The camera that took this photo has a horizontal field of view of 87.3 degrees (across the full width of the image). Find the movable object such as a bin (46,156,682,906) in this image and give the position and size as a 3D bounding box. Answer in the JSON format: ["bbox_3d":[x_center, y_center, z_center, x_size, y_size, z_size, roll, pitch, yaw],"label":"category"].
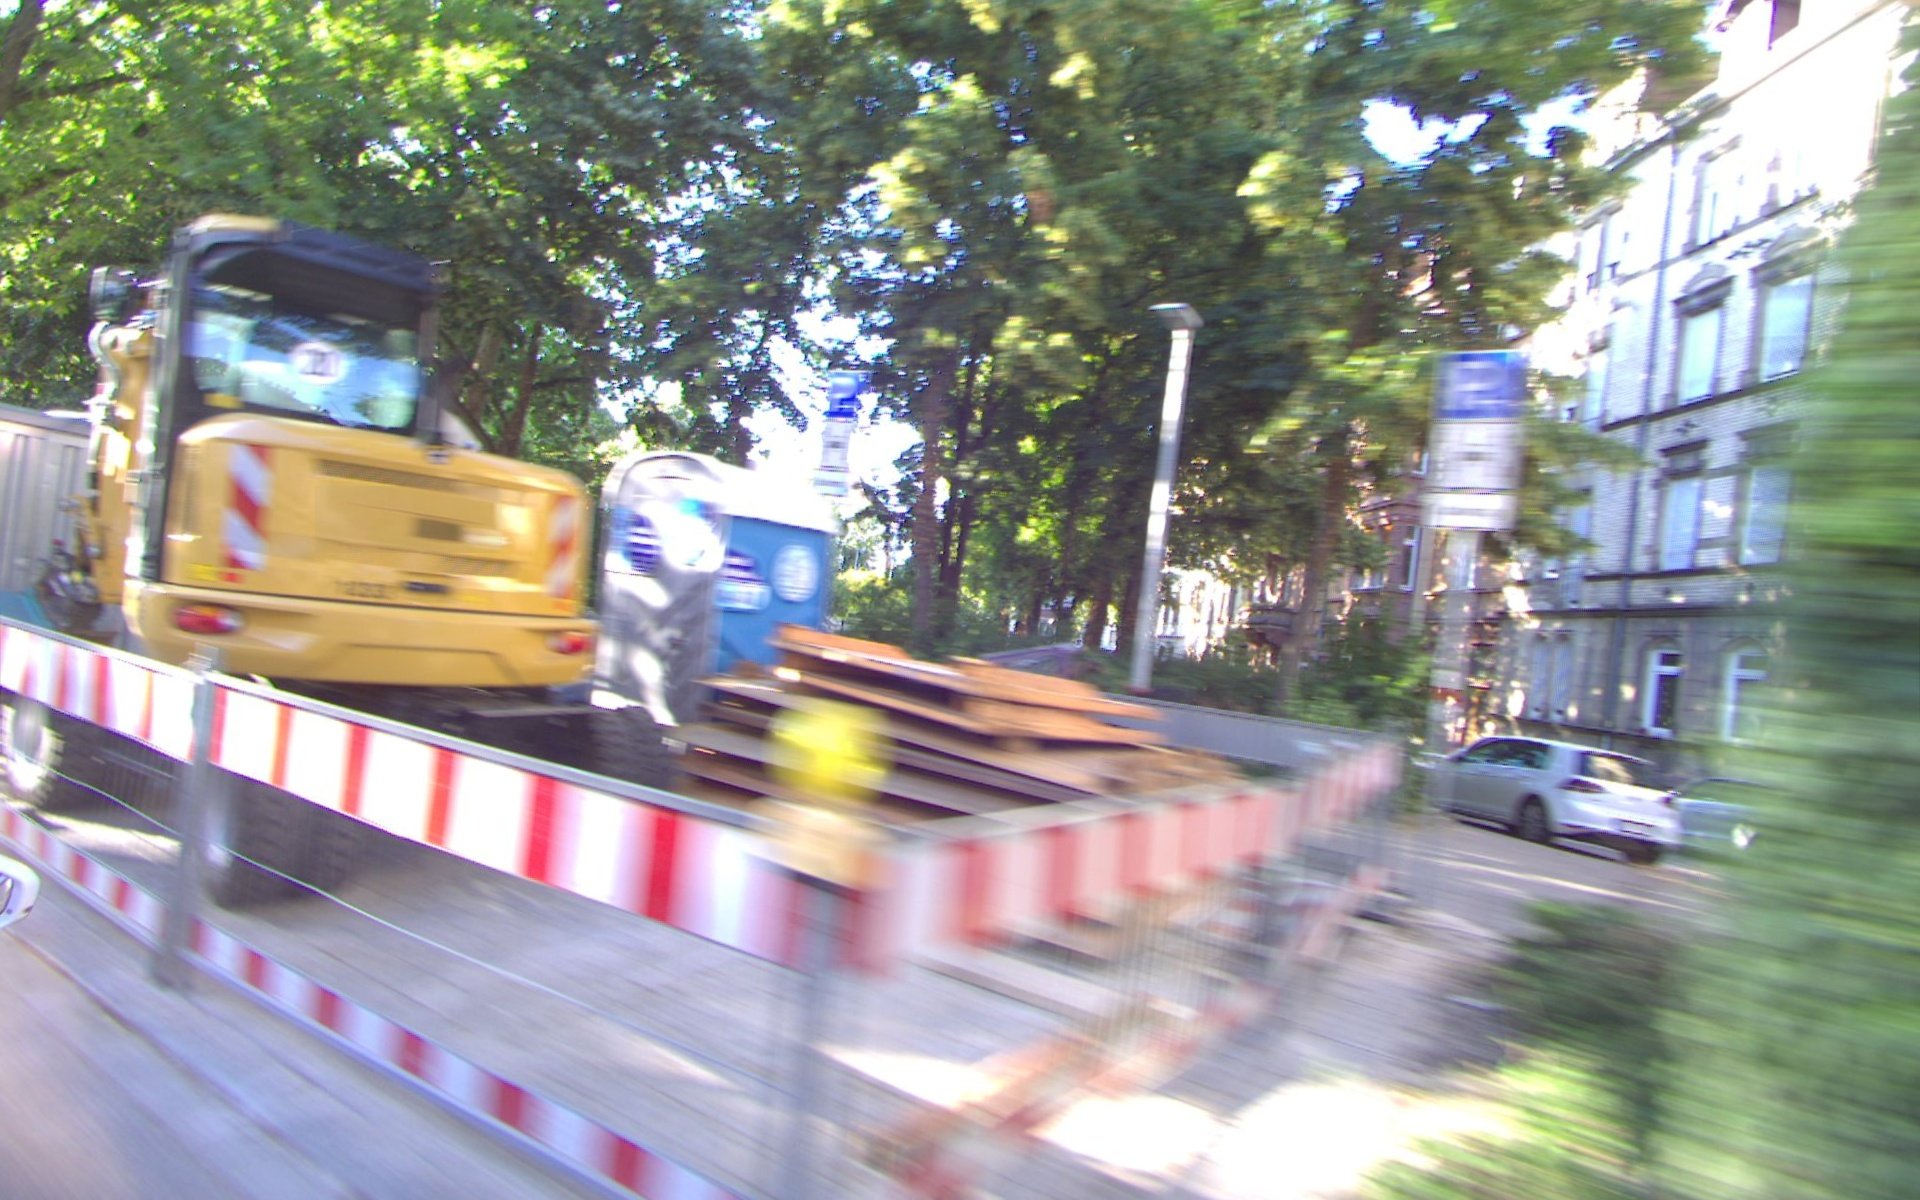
[{"bbox_3d":[-3.334,-0.238,5.435,3.071,2.730,1.990,6,-2,45],"label":"movable object such as a bin"}]

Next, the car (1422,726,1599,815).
[{"bbox_3d":[12.616,3.870,23.357,1.739,1.536,4.005,4,-4,-3],"label":"car"}]

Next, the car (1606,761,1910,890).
[{"bbox_3d":[12.962,3.618,16.709,1.739,1.392,4.005,4,-4,-3],"label":"car"}]

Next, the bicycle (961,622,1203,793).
[{"bbox_3d":[1.243,1.031,10.132,2.107,1.301,1.027,8,0,19],"label":"bicycle"}]

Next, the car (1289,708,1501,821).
[{"bbox_3d":[8.073,3.009,19.125,1.850,1.477,4.005,11,-5,-4],"label":"car"}]

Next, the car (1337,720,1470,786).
[{"bbox_3d":[12.211,4.199,27.996,1.739,1.392,4.005,4,-4,-3],"label":"car"}]

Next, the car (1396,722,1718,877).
[{"bbox_3d":[8.288,2.714,14.467,1.850,1.426,4.005,11,-5,-4],"label":"car"}]
